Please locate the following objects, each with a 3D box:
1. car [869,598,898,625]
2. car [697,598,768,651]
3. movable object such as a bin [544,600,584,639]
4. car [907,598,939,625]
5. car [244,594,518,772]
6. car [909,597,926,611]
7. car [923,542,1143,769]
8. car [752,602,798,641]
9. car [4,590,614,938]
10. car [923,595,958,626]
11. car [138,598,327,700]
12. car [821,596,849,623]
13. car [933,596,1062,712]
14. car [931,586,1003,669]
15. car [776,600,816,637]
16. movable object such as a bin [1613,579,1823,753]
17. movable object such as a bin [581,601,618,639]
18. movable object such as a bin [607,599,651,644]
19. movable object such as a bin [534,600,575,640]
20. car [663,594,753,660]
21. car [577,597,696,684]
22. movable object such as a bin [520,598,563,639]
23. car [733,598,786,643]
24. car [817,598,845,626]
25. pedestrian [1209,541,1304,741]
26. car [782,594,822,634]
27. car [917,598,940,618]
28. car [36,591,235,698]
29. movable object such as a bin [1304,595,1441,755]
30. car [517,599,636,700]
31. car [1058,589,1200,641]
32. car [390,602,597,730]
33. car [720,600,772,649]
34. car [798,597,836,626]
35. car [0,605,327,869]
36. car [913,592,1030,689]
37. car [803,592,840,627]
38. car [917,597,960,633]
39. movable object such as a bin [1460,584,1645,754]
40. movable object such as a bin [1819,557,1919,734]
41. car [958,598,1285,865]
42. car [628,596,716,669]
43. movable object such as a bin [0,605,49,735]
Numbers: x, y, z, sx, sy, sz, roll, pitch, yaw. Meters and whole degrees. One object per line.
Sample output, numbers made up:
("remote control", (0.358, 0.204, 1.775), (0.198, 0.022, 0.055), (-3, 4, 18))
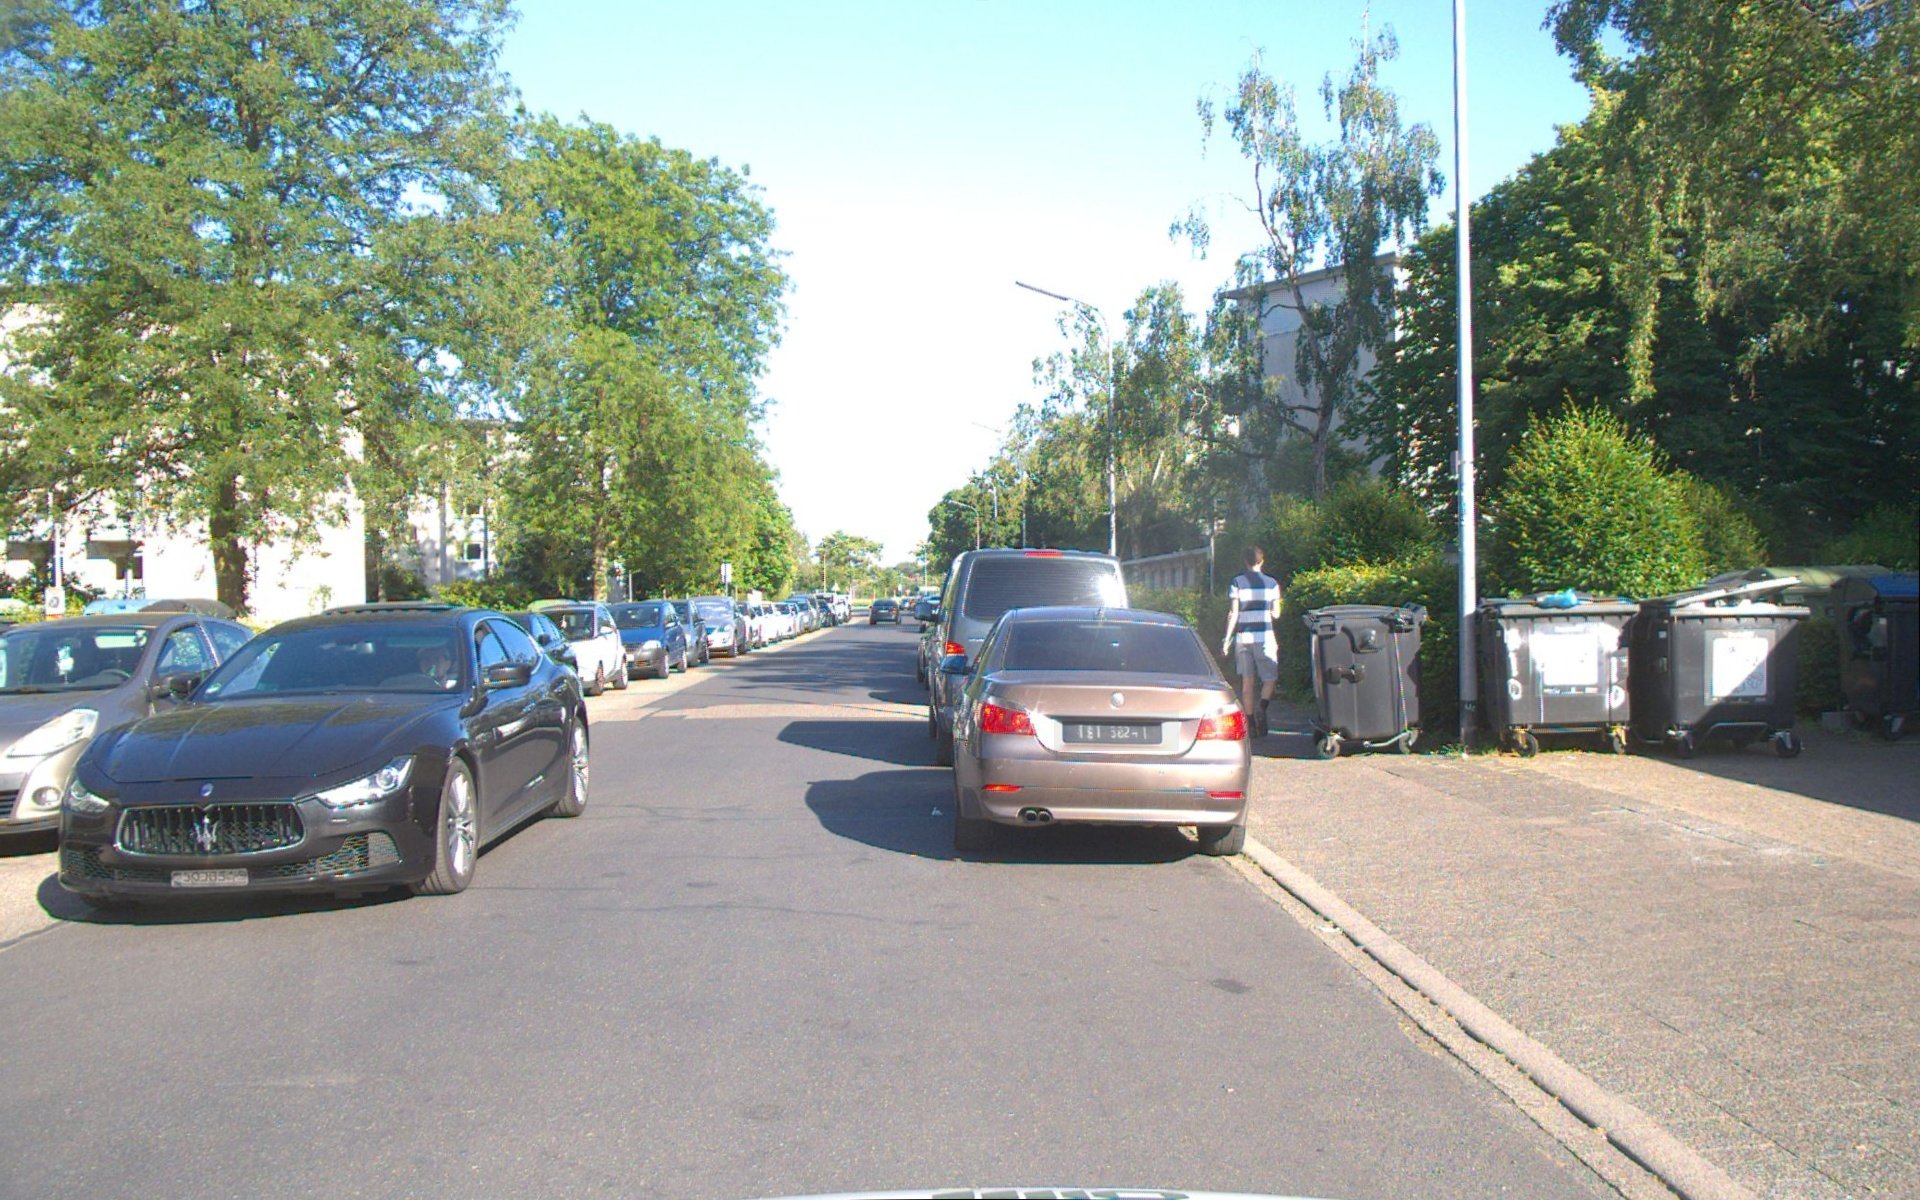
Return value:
("car", (-4.551, 0.661, 97.979), (1.646, 1.540, 4.101), (1, 0, -4))
("car", (-7.000, 0.724, 51.230), (1.629, 1.539, 3.945), (-2, 0, -1))
("movable object such as a bin", (-15.431, 0.761, 64.518), (1.153, 1.445, 1.462), (2, 0, 0))
("car", (-2.178, 0.656, 96.991), (1.869, 1.557, 4.326), (0, 0, -2))
("car", (-6.018, 0.788, 17.645), (1.719, 1.601, 3.718), (-3, 0, -3))
("car", (-4.958, 0.425, 192.515), (1.760, 1.576, 3.948), (0, 0, -4))
("car", (0.588, 0.486, 16.804), (1.815, 1.968, 4.702), (1, 0, -2))
("car", (-7.560, 0.863, 67.868), (1.653, 1.532, 3.815), (-2, 0, -3))
("car", (-3.394, 0.723, 9.708), (1.872, 1.502, 4.569), (-2, 0, -2))
("car", (-1.093, 0.557, 91.182), (1.869, 1.668, 4.626), (0, 0, -2))
("car", (-11.785, 0.743, 27.060), (1.539, 1.552, 3.997), (0, 0, -4))
("car", (-8.589, 0.624, 113.894), (1.711, 1.762, 4.004), (-2, 0, -2))
("car", (0.464, 0.711, 23.774), (1.590, 1.516, 4.034), (1, 0, -2))
("car", (0.124, 0.583, 36.453), (1.459, 1.748, 2.582), (1, 0, -2))
("car", (-7.759, 0.852, 78.508), (1.676, 1.628, 3.983), (-3, 0, -3))
("movable object such as a bin", (6.370, 0.539, 13.976), (1.250, 1.389, 1.133), (-1, 0, 2))
("movable object such as a bin", (-14.182, 0.764, 65.139), (1.111, 1.445, 1.361), (2, 0, 0))
("movable object such as a bin", (-10.758, 0.690, 53.818), (1.113, 1.407, 1.441), (2, 0, 0))
("movable object such as a bin", (-15.452, 0.751, 62.997), (1.153, 1.445, 1.462), (2, 0, 0))
("car", (-6.840, 0.707, 45.319), (1.865, 1.668, 4.347), (-2, 0, -2))
("car", (-6.729, 0.795, 34.767), (1.719, 1.634, 3.968), (-3, 0, -1))
("movable object such as a bin", (-15.413, 0.667, 60.983), (1.153, 1.445, 1.462), (2, 0, 0))
("car", (-7.500, 0.753, 62.135), (1.653, 1.561, 3.889), (-2, 0, -2))
("car", (-8.429, 0.760, 108.238), (1.712, 1.699, 4.374), (-2, 0, -4))
("pedestrian", (2.963, 0.400, 16.577), (0.689, 1.921, 0.872), (-3, 0, -1))
("car", (-8.048, 0.676, 84.652), (1.817, 1.925, 4.415), (-2, 0, -3))
("car", (-2.640, 0.653, 137.314), (1.760, 1.589, 3.948), (0, 0, -4))
("car", (-13.717, 0.689, 27.763), (1.539, 1.669, 3.997), (0, 0, -4))
("movable object such as a bin", (3.755, 0.658, 15.179), (1.004, 1.332, 1.388), (-4, 0, 8))
("car", (-6.682, 0.819, 29.090), (1.416, 1.601, 3.140), (-3, 0, -3))
("car", (5.474, 0.474, 53.985), (4.421, 1.540, 1.828), (-2, 0, -1))
("car", (-6.341, 0.829, 23.000), (1.719, 1.506, 4.535), (-3, 0, -3))
("car", (-7.222, 0.799, 55.706), (1.631, 1.539, 3.531), (-2, 0, -8))
("car", (-8.073, 0.650, 93.885), (1.710, 1.560, 4.139), (-2, 0, 1))
("car", (-6.126, 0.848, 11.699), (1.718, 1.506, 3.959), (-3, 0, 0))
("car", (0.126, 0.655, 29.256), (1.698, 1.516, 4.497), (-2, 0, -4))
("car", (-8.353, 0.539, 99.997), (1.876, 1.997, 5.086), (-2, 0, -1))
("car", (-0.994, 0.656, 74.950), (1.719, 1.540, 4.101), (1, 0, -4))
("movable object such as a bin", (5.096, 0.574, 14.324), (1.198, 1.389, 1.133), (-1, 0, 2))
("movable object such as a bin", (8.699, 0.381, 14.984), (1.250, 1.491, 1.134), (-1, 3, 2))
("car", (0.875, 0.711, 11.265), (1.764, 1.443, 4.635), (0, 0, 0))
("car", (-6.893, 0.751, 39.804), (1.603, 1.634, 3.533), (-2, 0, -3))
("movable object such as a bin", (-10.651, 0.741, 17.619), (1.153, 1.363, 1.343), (0, 0, 0))
